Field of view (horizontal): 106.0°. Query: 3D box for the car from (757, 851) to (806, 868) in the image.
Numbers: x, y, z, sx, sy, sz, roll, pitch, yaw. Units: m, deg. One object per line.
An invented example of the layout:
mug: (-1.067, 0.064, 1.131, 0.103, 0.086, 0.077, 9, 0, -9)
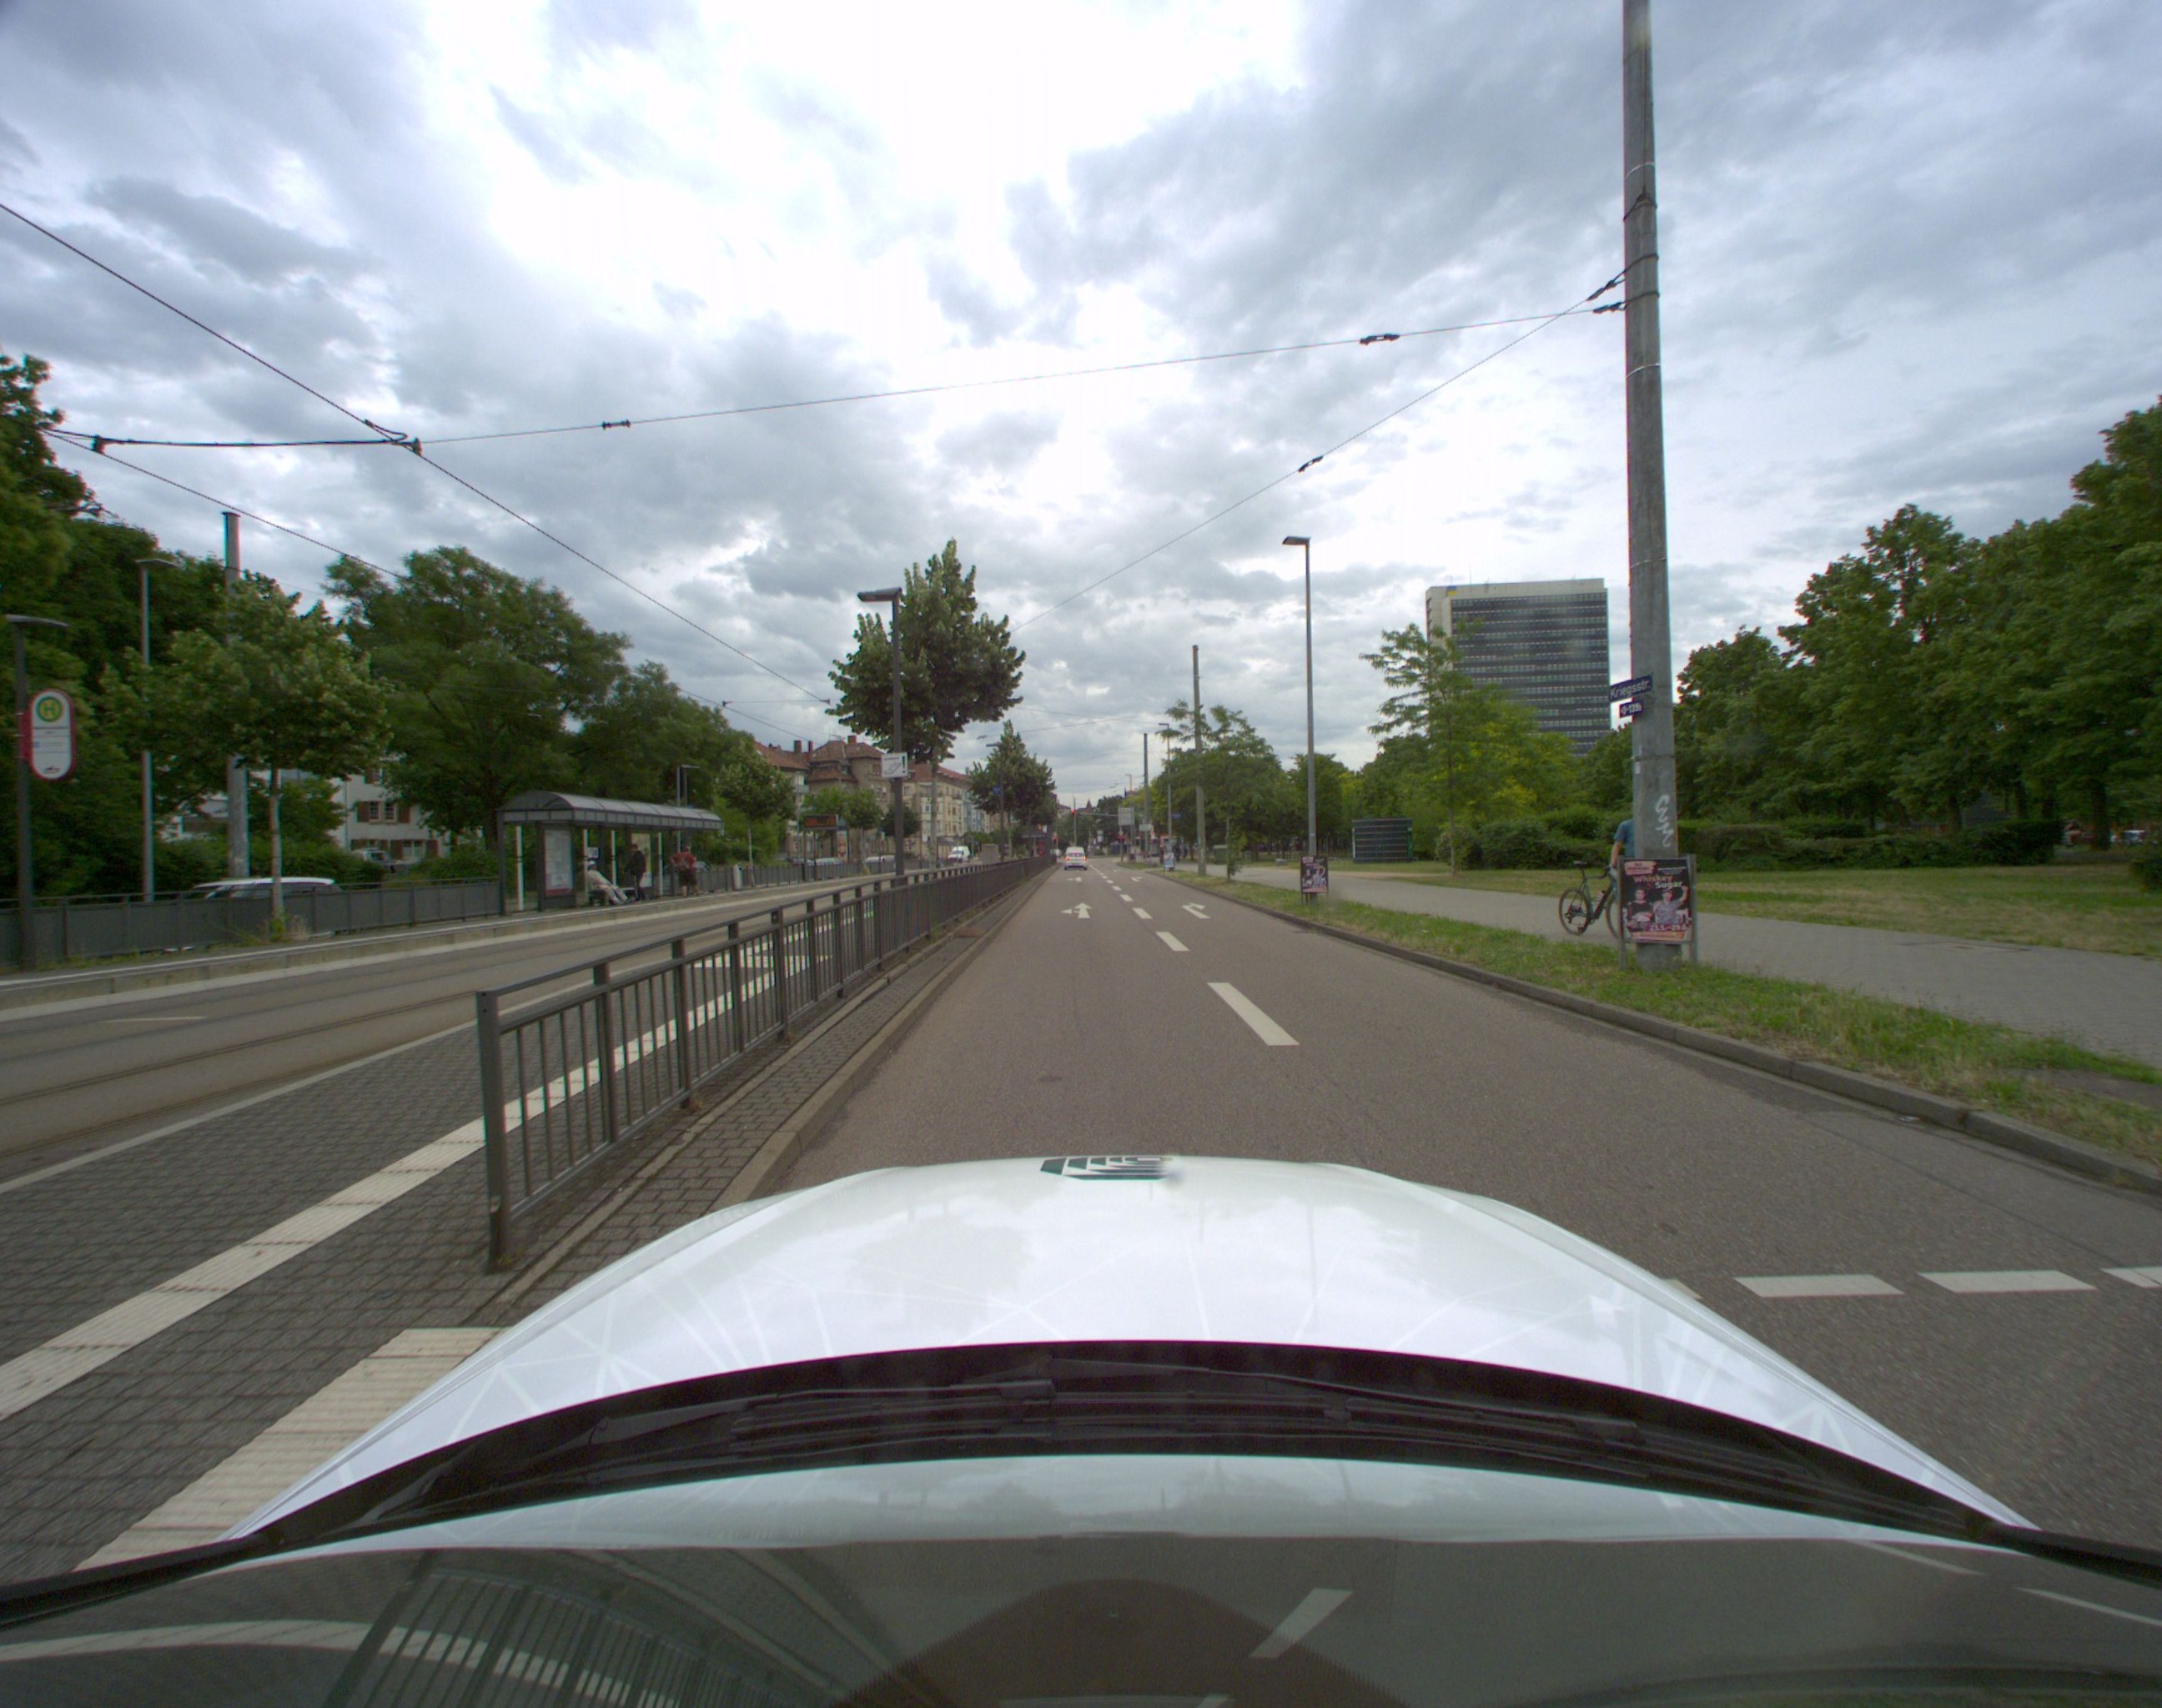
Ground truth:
car: (-28.094, 0.513, 76.423, 3.862, 1.493, 1.775, -1, 0, -1)

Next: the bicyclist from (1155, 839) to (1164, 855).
bicyclist: (6.785, -0.606, 70.363, 0.675, 1.379, 0.729, -2, 0, 7)

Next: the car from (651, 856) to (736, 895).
car: (-16.386, 0.883, 34.647, 1.765, 1.493, 3.886, -1, 0, 0)

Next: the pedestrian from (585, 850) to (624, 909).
pedestrian: (-13.470, 0.710, 23.044, 0.630, 1.624, 0.680, -2, 0, -1)

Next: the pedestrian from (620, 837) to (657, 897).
pedestrian: (-12.988, 0.387, 23.939, 0.699, 1.715, 0.697, -2, 0, -9)

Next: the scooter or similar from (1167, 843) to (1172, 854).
scooter or similar: (9.452, -0.543, 86.704, 0.373, 1.141, 1.203, -2, 0, 10)

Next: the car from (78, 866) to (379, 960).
car: (-16.313, 1.041, 15.932, 1.765, 1.493, 3.886, -1, 0, 0)

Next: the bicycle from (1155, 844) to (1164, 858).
bicycle: (6.809, -0.254, 70.357, 0.675, 1.155, 1.902, -2, 1, 7)

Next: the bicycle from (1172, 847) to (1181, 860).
bicycle: (8.795, -0.050, 74.693, 0.676, 1.155, 1.900, -2, 1, 3)

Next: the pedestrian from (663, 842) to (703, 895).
pedestrian: (-13.073, 0.465, 26.769, 0.767, 1.660, 1.024, -2, 0, -3)

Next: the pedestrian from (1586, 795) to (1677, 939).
pedestrian: (7.479, 0.169, 11.091, 0.737, 1.869, 0.682, -2, 0, -1)

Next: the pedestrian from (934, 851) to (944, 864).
pedestrian: (-13.611, 0.318, 78.096, 0.863, 1.267, 0.693, -2, 0, -3)

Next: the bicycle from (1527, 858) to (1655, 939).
bicycle: (7.093, 0.586, 11.435, 0.652, 1.003, 1.779, -2, 0, 0)

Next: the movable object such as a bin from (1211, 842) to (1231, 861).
movable object such as a bin: (10.366, -0.197, 60.500, 1.278, 1.390, 1.159, -1, 0, 0)

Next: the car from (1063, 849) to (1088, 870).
car: (-0.390, 0.383, 62.438, 1.776, 1.472, 4.011, -1, 1, 1)

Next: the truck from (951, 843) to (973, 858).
truck: (-17.090, -0.552, 117.023, 1.779, 2.032, 5.405, -1, 0, 6)

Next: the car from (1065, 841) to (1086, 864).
car: (-0.510, -0.138, 71.955, 1.777, 1.962, 4.381, -1, 1, -1)

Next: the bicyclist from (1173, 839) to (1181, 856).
bicyclist: (8.769, -0.588, 74.573, 0.676, 1.537, 0.673, -2, 0, 3)

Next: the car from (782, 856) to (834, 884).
car: (-16.100, 0.929, 48.231, 1.765, 1.493, 3.886, -1, 0, 0)

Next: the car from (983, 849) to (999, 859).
car: (-14.553, 0.026, 132.441, 1.761, 1.493, 3.893, -1, 0, 6)

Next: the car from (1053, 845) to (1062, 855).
car: (-4.710, -0.830, 164.517, 1.765, 1.874, 3.886, -1, 0, 0)
